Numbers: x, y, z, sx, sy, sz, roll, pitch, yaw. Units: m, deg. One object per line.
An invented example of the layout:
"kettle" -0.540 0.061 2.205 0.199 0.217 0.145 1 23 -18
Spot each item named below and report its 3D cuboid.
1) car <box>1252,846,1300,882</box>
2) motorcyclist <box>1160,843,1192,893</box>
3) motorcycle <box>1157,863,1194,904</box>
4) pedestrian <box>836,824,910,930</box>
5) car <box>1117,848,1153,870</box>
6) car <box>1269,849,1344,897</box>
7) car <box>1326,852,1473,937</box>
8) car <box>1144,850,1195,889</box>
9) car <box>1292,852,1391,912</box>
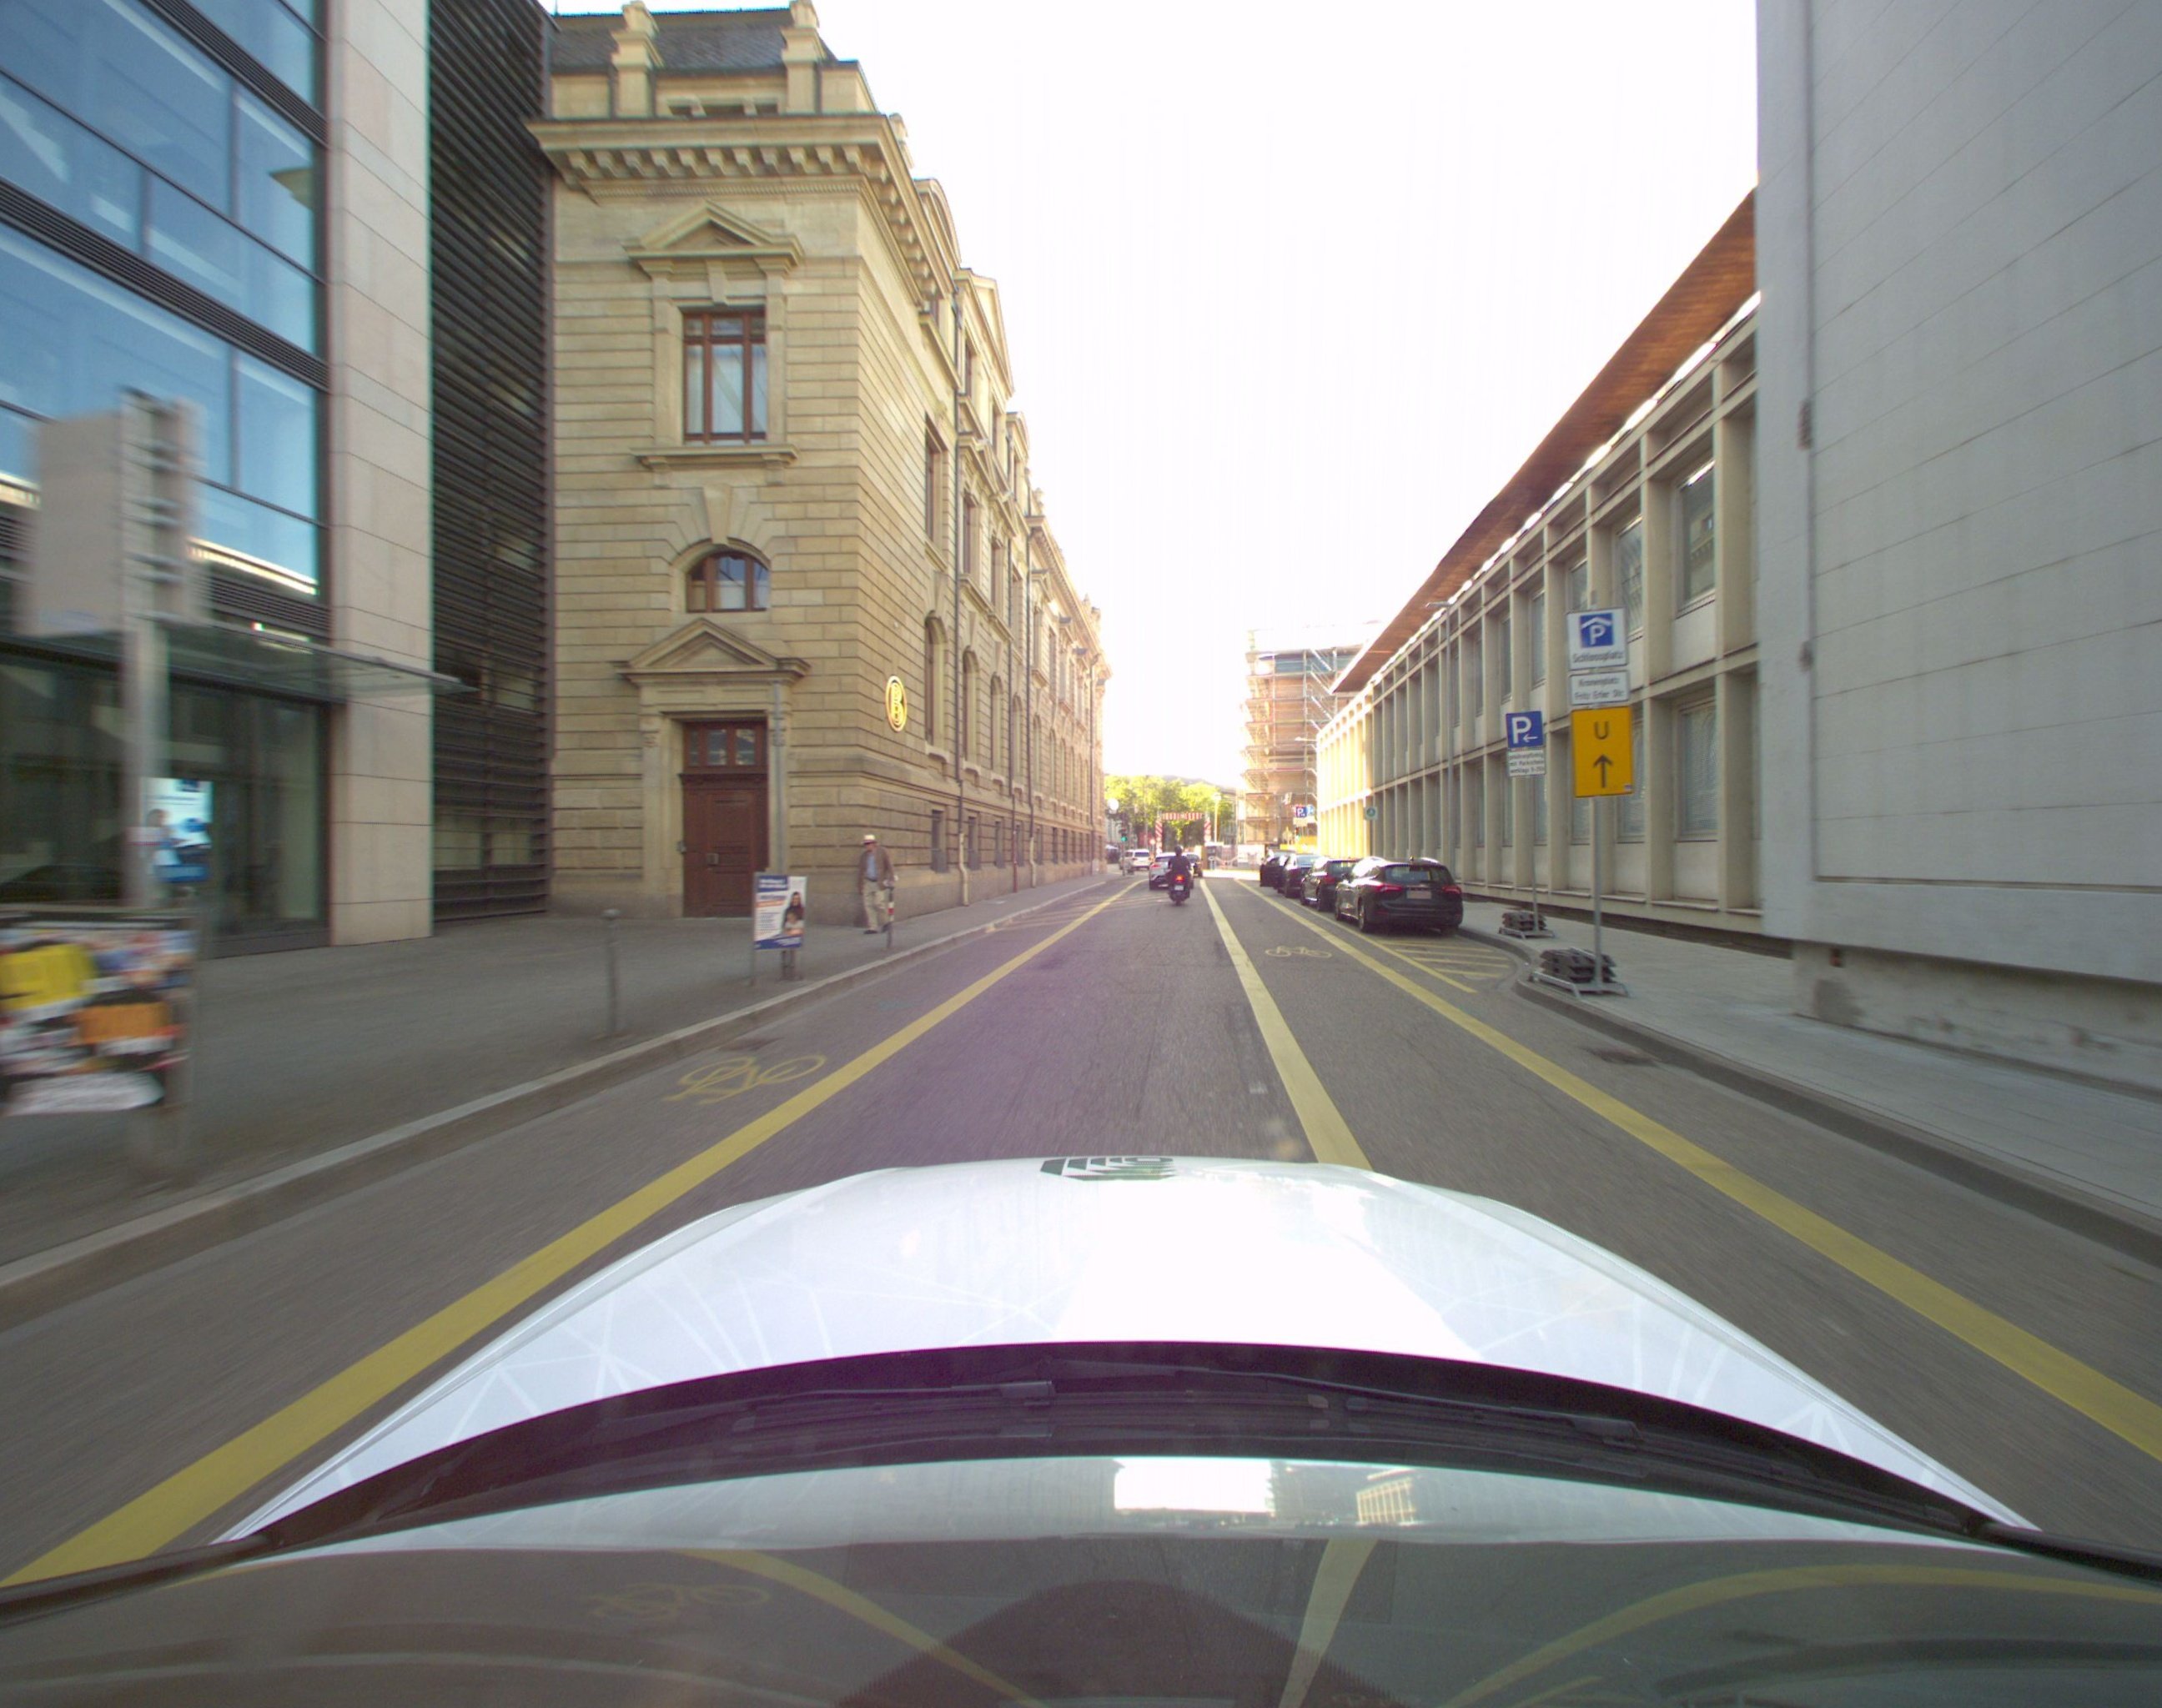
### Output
"car" 9.786 0.452 41.231 1.815 1.699 4.676 1 1 7
"motorcyclist" 2.744 0.396 23.543 0.861 1.427 0.457 -1 -1 10
"motorcycle" 2.730 0.828 23.404 0.867 1.109 1.845 -1 -1 12
"pedestrian" -3.747 0.401 14.775 0.836 1.800 1.076 3 0 10
"car" 4.571 0.376 69.716 1.995 1.664 4.341 -3 2 -11
"car" 7.802 0.600 28.547 1.815 1.501 4.745 1 0 7
"car" 6.374 0.722 16.809 1.773 1.479 4.297 1 1 6
"car" 3.824 0.619 34.602 1.811 1.541 4.276 0 0 10
"car" 7.073 0.722 22.525 1.772 1.479 4.296 -1 -1 6
